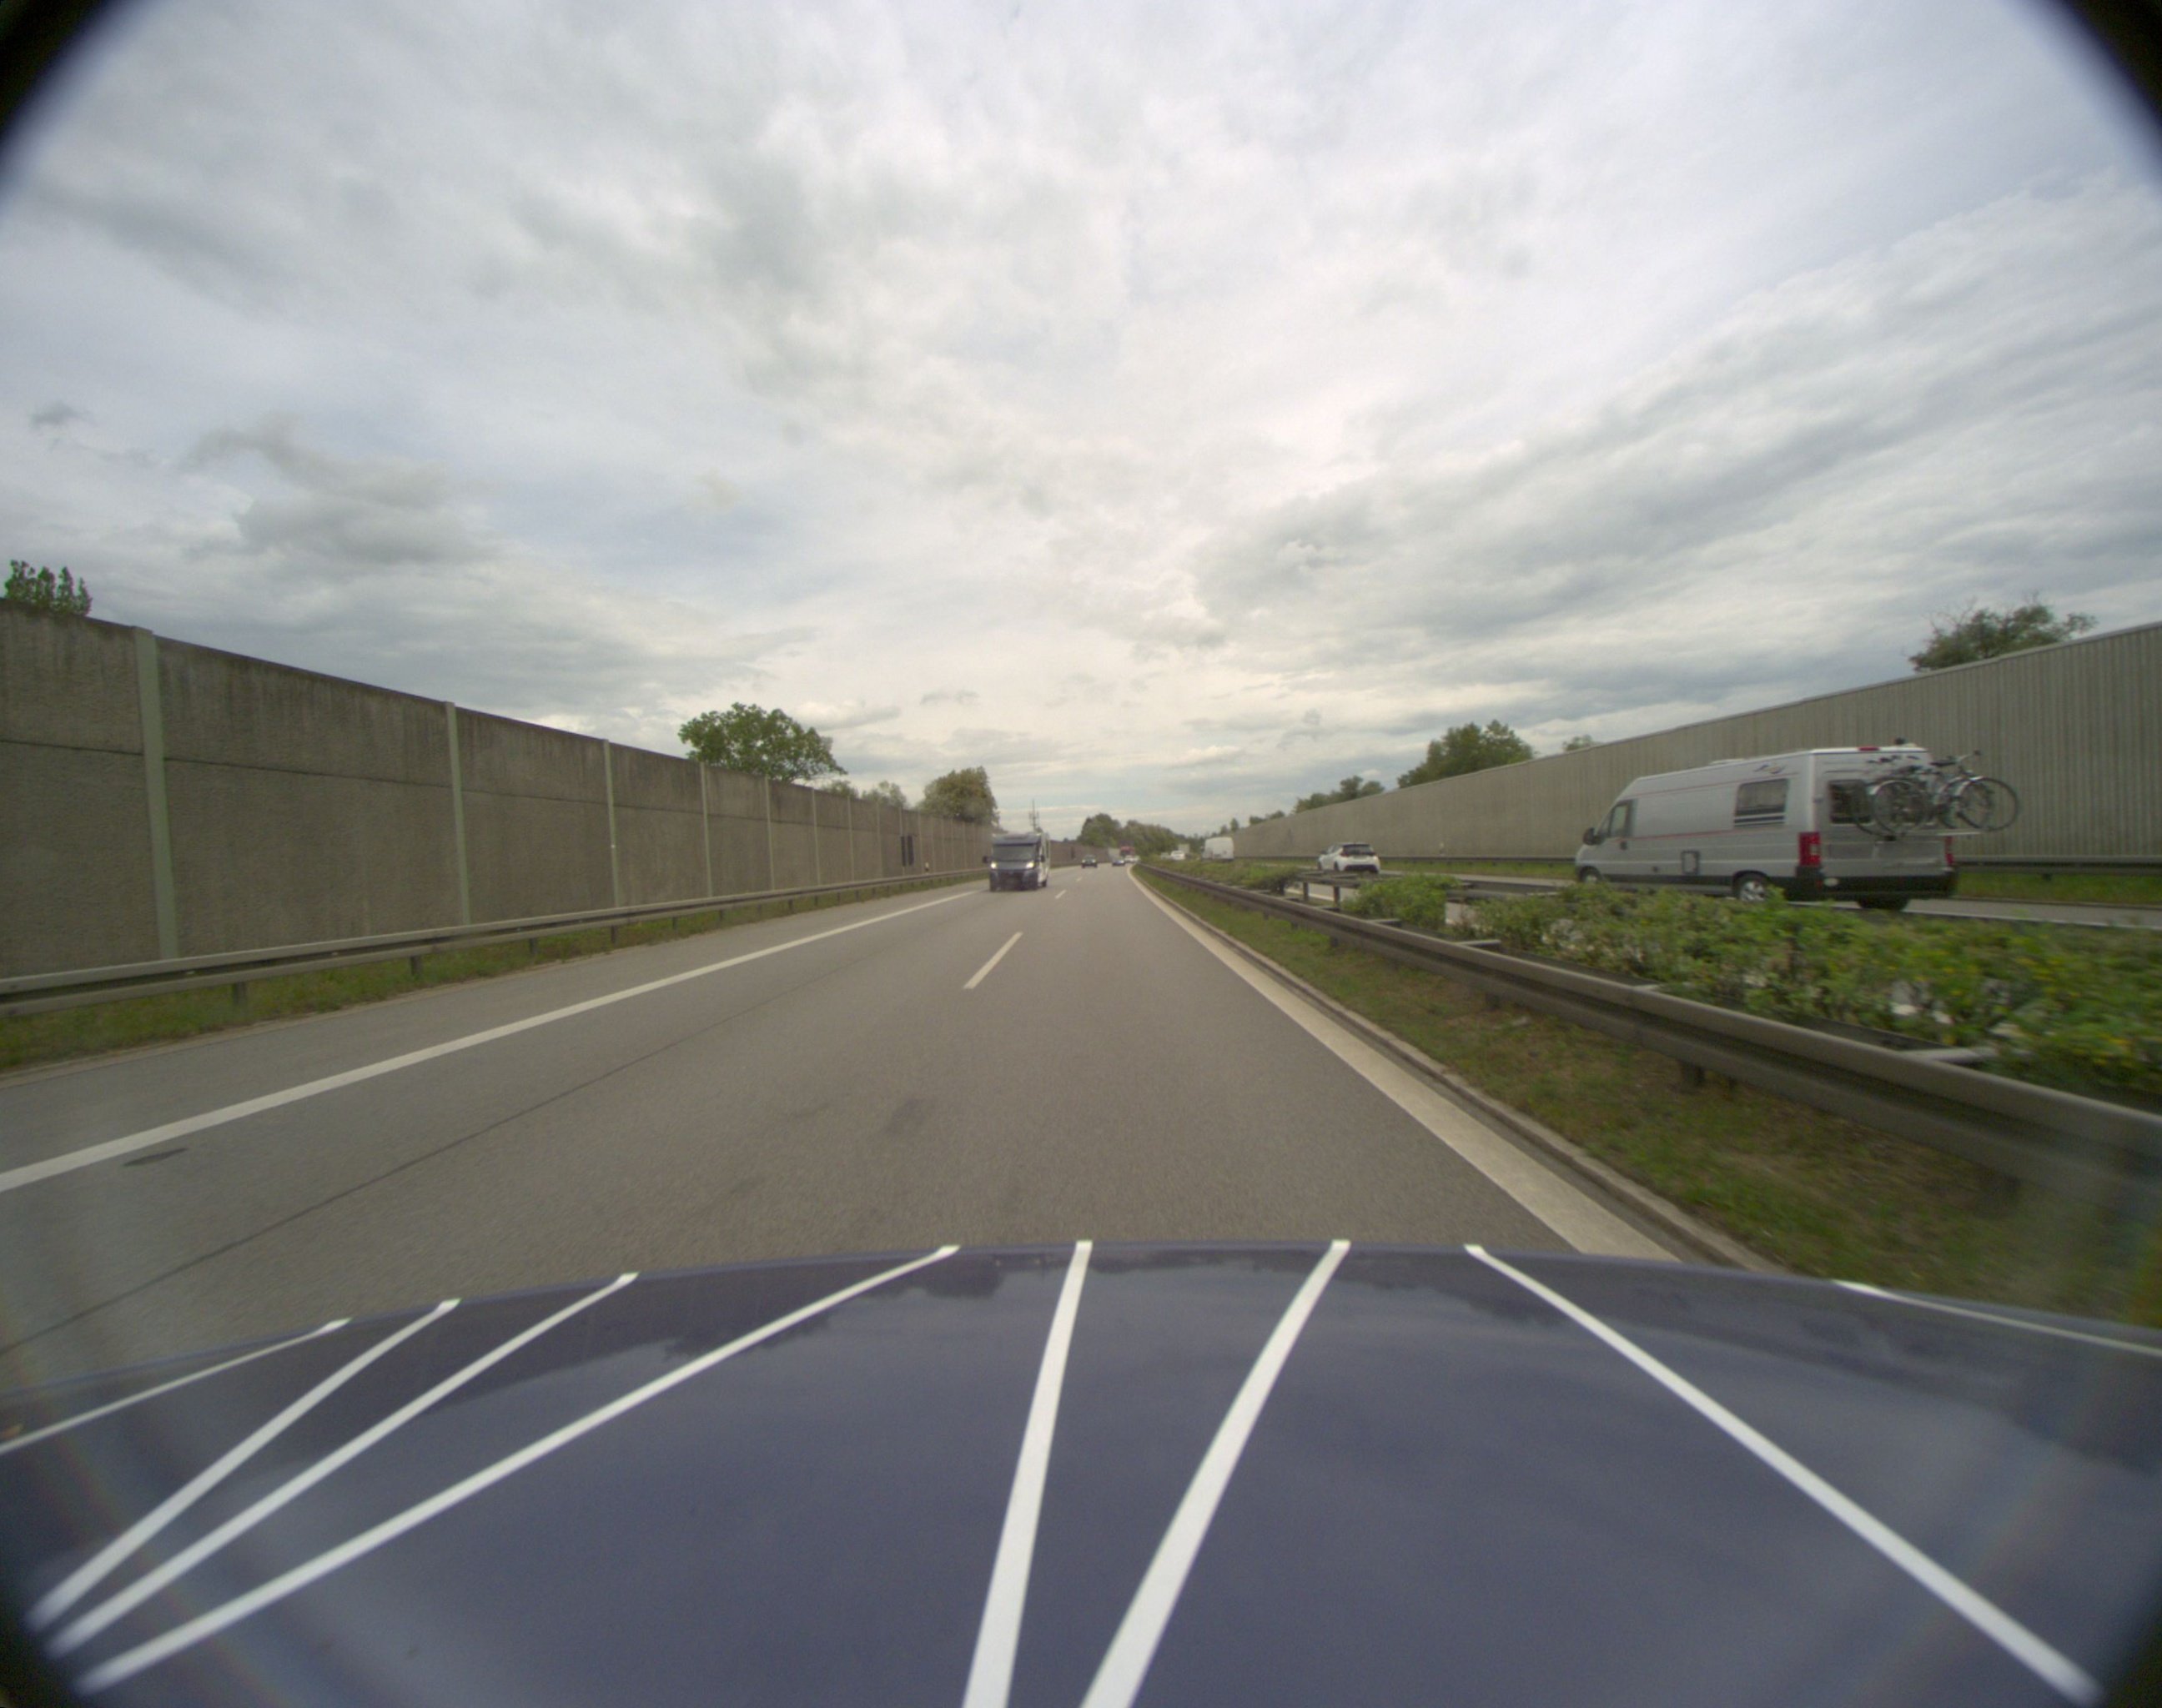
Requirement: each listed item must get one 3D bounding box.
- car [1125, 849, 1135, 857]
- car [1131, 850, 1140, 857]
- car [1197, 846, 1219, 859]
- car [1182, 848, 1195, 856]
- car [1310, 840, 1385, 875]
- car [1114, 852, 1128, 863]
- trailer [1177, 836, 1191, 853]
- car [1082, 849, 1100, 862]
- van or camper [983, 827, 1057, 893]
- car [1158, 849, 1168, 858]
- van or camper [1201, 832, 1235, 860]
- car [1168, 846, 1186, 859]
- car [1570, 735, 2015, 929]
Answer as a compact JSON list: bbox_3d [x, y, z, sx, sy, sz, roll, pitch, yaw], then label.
[{"bbox_3d":[9.872,-0.193,153.745,1.889,1.608,4.001,-1,0,5],"label":"car"},{"bbox_3d":[13.281,-0.103,184.531,1.888,1.608,4.002,-1,0,6],"label":"car"},{"bbox_3d":[14.570,-0.186,87.405,1.998,1.356,4.968,-2,0,3],"label":"car"},{"bbox_3d":[18.156,-0.361,128.387,1.726,1.409,4.555,-1,0,4],"label":"car"},{"bbox_3d":[11.744,0.145,33.814,1.869,1.395,4.499,-1,0,1],"label":"car"},{"bbox_3d":[5.742,0.468,108.500,1.889,1.608,4.001,-1,0,5],"label":"car"},{"bbox_3d":[25.534,-2.290,188.850,2.987,4.215,14.186,-1,0,6],"label":"trailer"},{"bbox_3d":[1.230,0.203,94.256,1.888,1.608,4.002,-1,0,6],"label":"car"},{"bbox_3d":[-2.667,0.250,35.493,2.435,2.681,7.226,-2,0,3],"label":"van or camper"},{"bbox_3d":[17.806,-0.104,164.778,1.968,1.660,4.925,-3,0,4],"label":"car"},{"bbox_3d":[12.331,-0.693,68.965,1.998,2.427,6.308,-1,0,1],"label":"van or camper"},{"bbox_3d":[11.748,-0.209,93.051,1.809,1.406,4.968,-2,0,3],"label":"car"},{"bbox_3d":[10.928,-0.289,12.556,2.116,2.441,5.683,-1,0,1],"label":"car"}]
